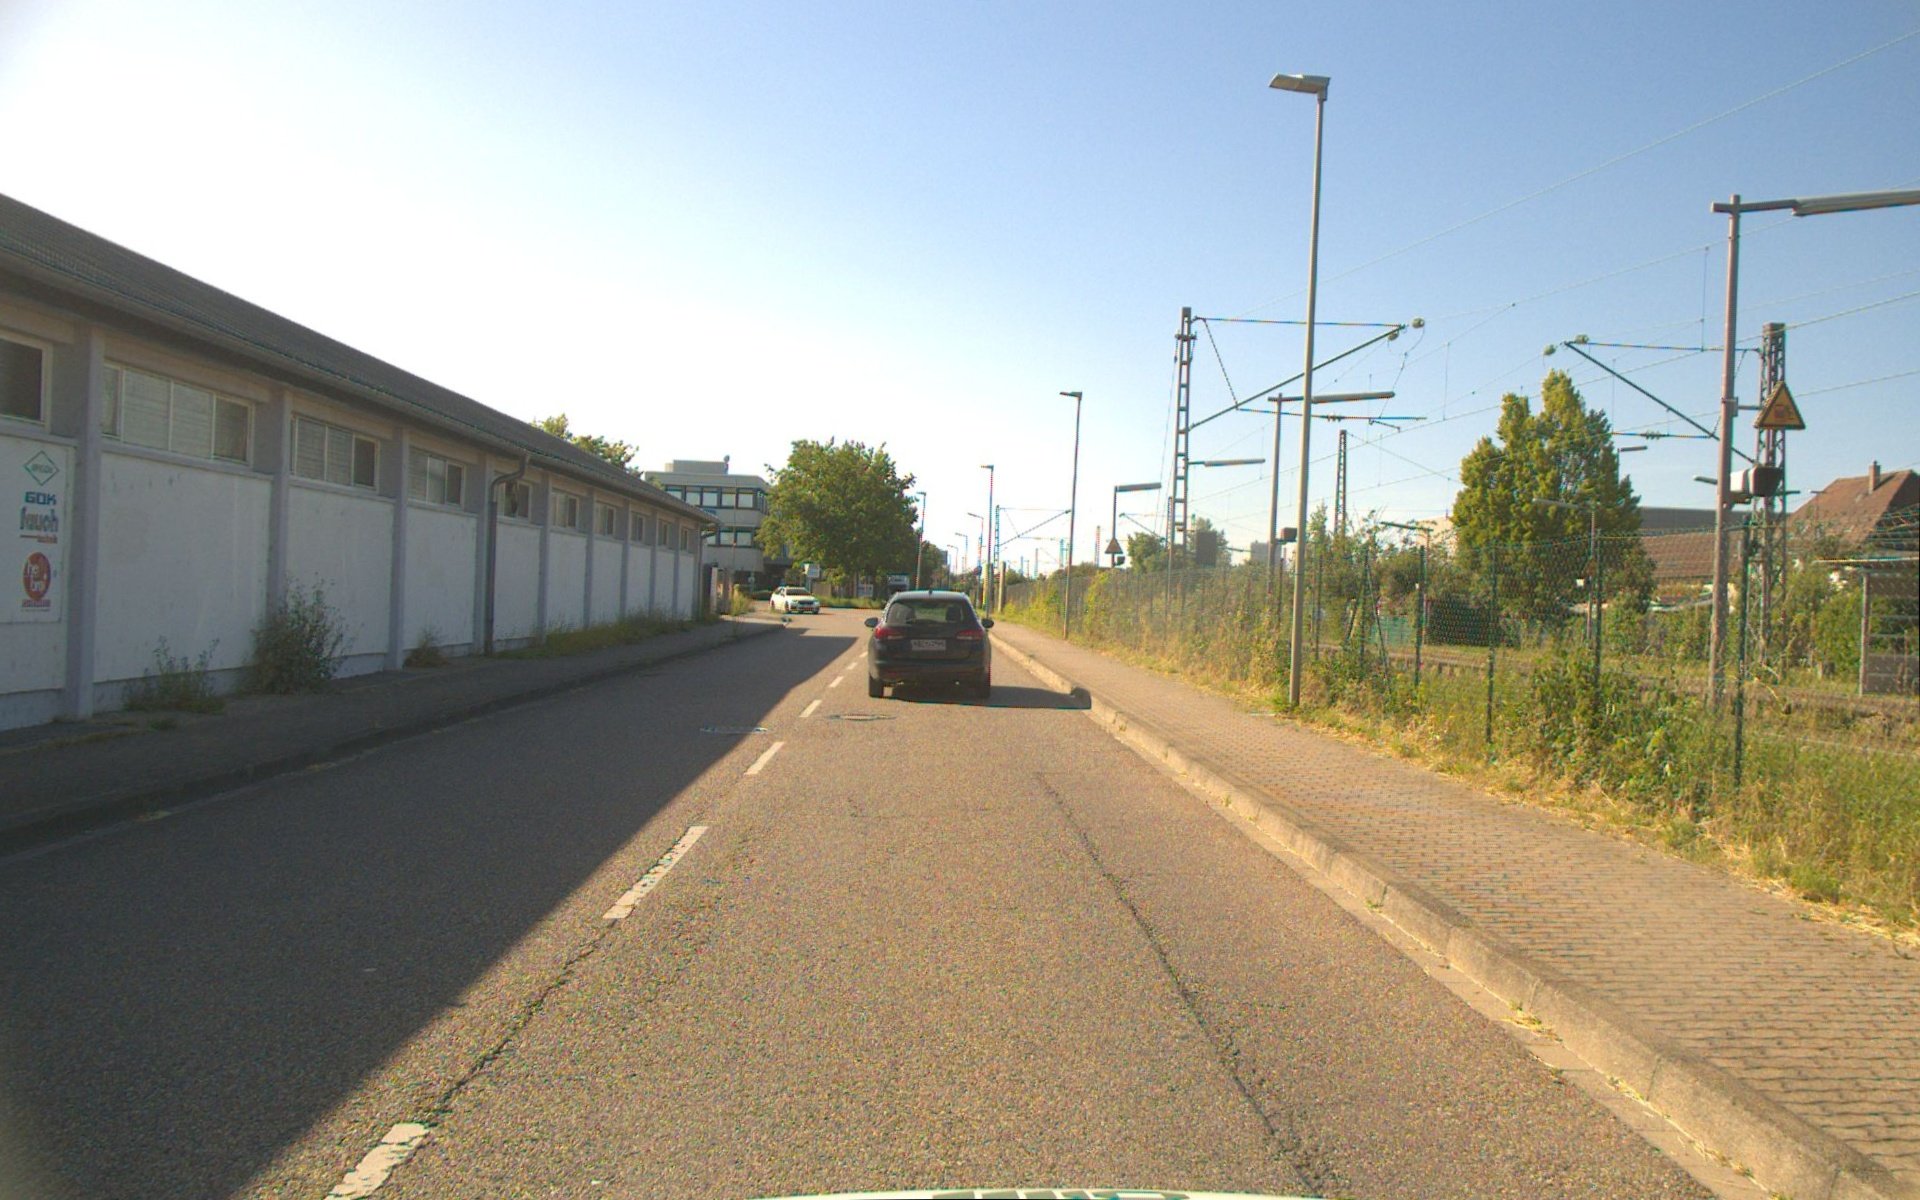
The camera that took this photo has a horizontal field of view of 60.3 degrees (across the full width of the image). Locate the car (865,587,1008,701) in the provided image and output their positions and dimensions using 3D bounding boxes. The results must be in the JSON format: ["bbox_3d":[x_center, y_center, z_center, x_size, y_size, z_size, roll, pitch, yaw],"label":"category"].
[{"bbox_3d":[-0.380,0.591,24.506,1.903,1.515,4.564,1,0,-2],"label":"car"}]

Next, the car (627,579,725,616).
[{"bbox_3d":[-12.913,-0.121,75.136,4.312,1.533,1.835,2,0,-12],"label":"car"}]

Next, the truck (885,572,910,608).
[{"bbox_3d":[-7.480,-1.125,195.707,2.561,3.953,13.523,3,0,-3],"label":"truck"}]
